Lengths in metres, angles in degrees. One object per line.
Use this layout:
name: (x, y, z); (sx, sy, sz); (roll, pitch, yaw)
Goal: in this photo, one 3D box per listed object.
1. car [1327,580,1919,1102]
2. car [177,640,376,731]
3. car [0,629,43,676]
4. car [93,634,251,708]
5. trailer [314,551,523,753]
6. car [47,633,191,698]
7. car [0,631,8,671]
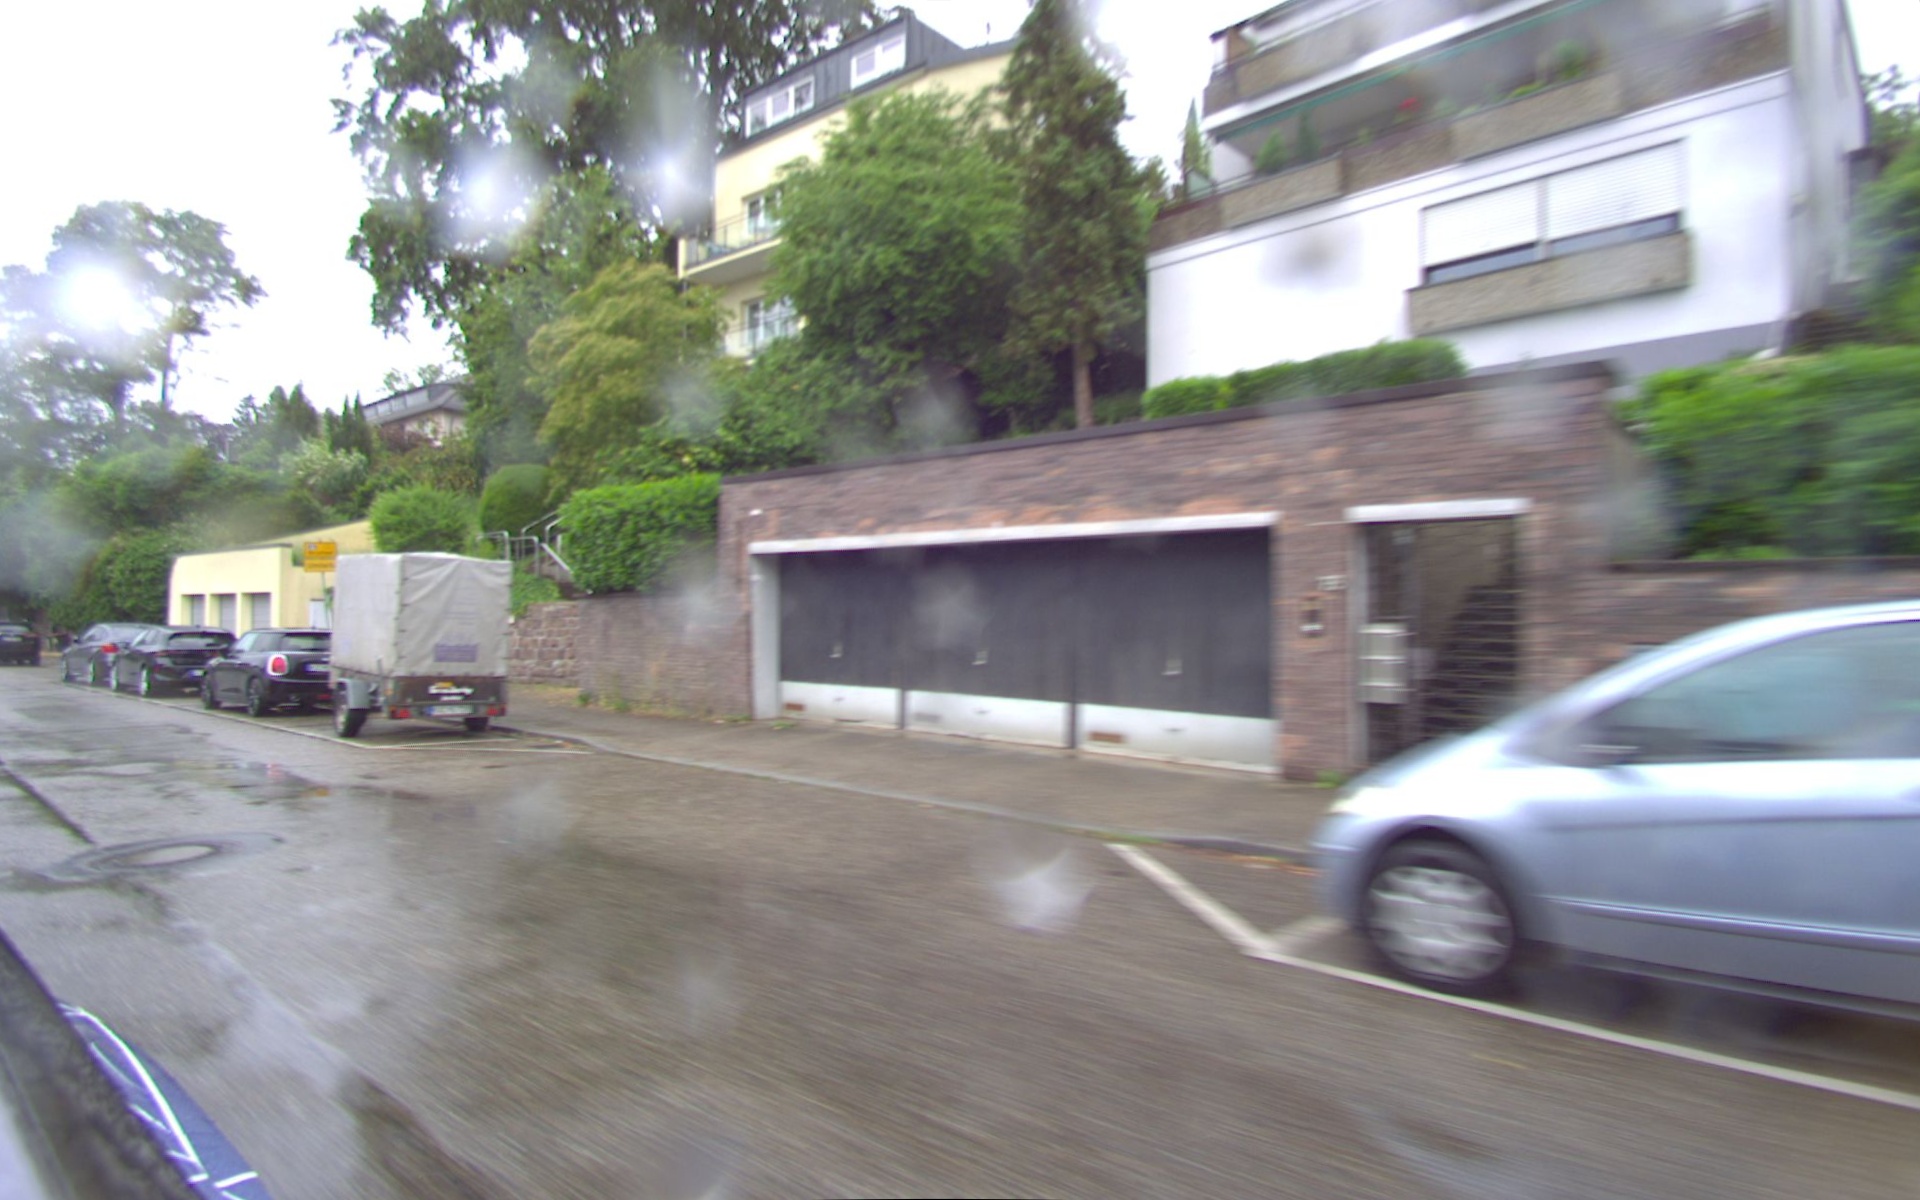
car: (3.506, 0.765, 3.641); (3.754, 1.551, 1.737); (-2, -5, 41)
car: (-11.626, 1.365, 17.144); (3.772, 1.360, 1.790); (-2, -3, 40)
car: (-34.982, 1.887, 36.643); (4.587, 1.638, 1.856); (-2, -5, 39)
car: (-16.798, 1.448, 21.507); (4.213, 1.426, 1.767); (-2, -3, 40)
trailer: (-7.377, 0.682, 13.706); (3.073, 2.418, 1.519); (-2, -4, 43)
car: (-20.955, 1.586, 25.161); (4.749, 1.466, 1.768); (-2, -4, 38)
car: (-39.011, 1.968, 39.796); (4.105, 1.573, 1.724); (-1, -4, 40)
